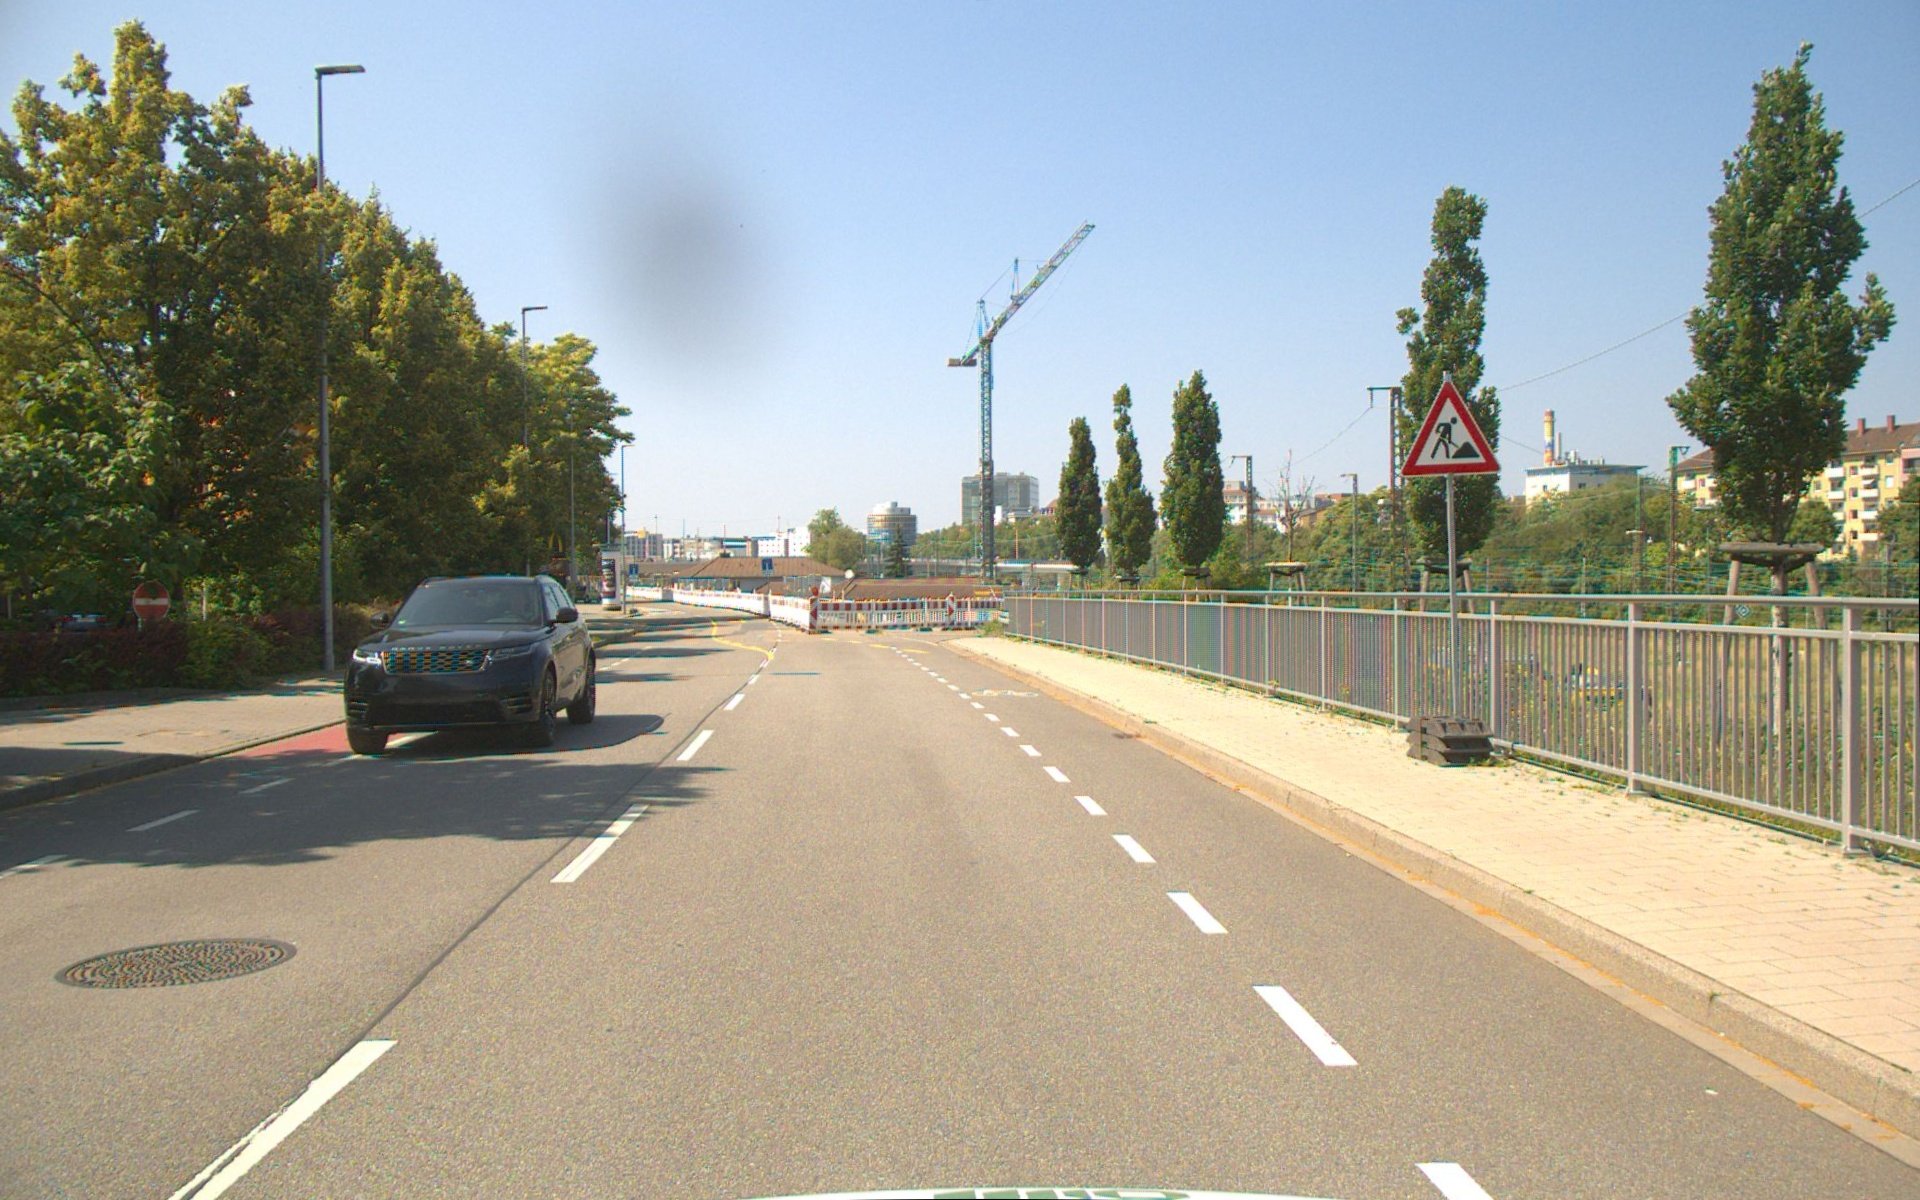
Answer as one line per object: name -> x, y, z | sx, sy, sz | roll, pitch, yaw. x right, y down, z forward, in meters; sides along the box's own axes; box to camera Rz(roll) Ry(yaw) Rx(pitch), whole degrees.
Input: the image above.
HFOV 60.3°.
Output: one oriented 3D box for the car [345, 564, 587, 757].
car -> -5.035, 0.515, 17.453 | 1.915, 1.725, 4.601 | -1, 1, -10
